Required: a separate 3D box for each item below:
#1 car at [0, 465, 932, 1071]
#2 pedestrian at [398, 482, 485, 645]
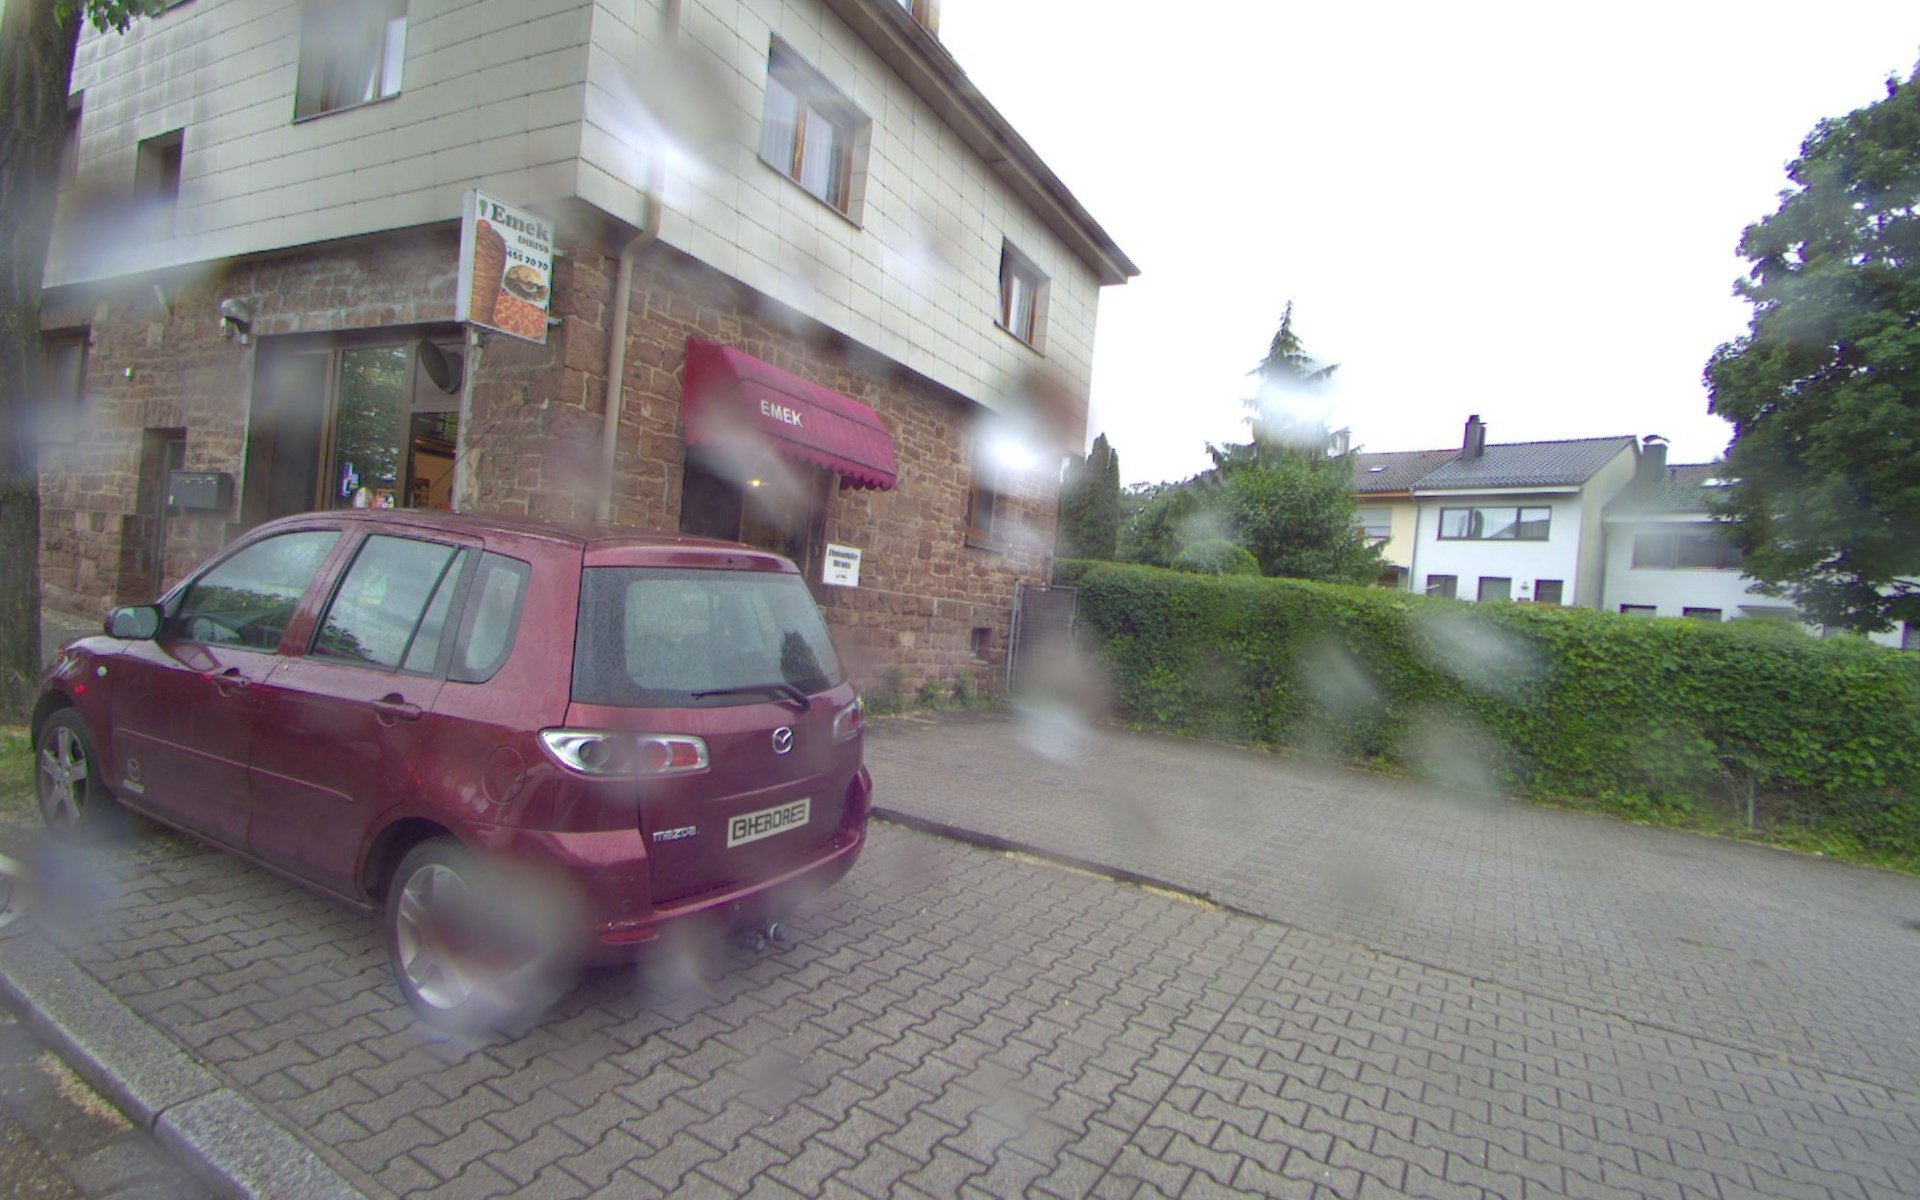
[{"bbox_3d":[-2.174,0.376,4.143,3.692,1.521,1.614,5,-3,29],"label":"car"},{"bbox_3d":[-5.581,-0.386,10.837,0.447,1.679,0.493,7,-1,31],"label":"pedestrian"}]
